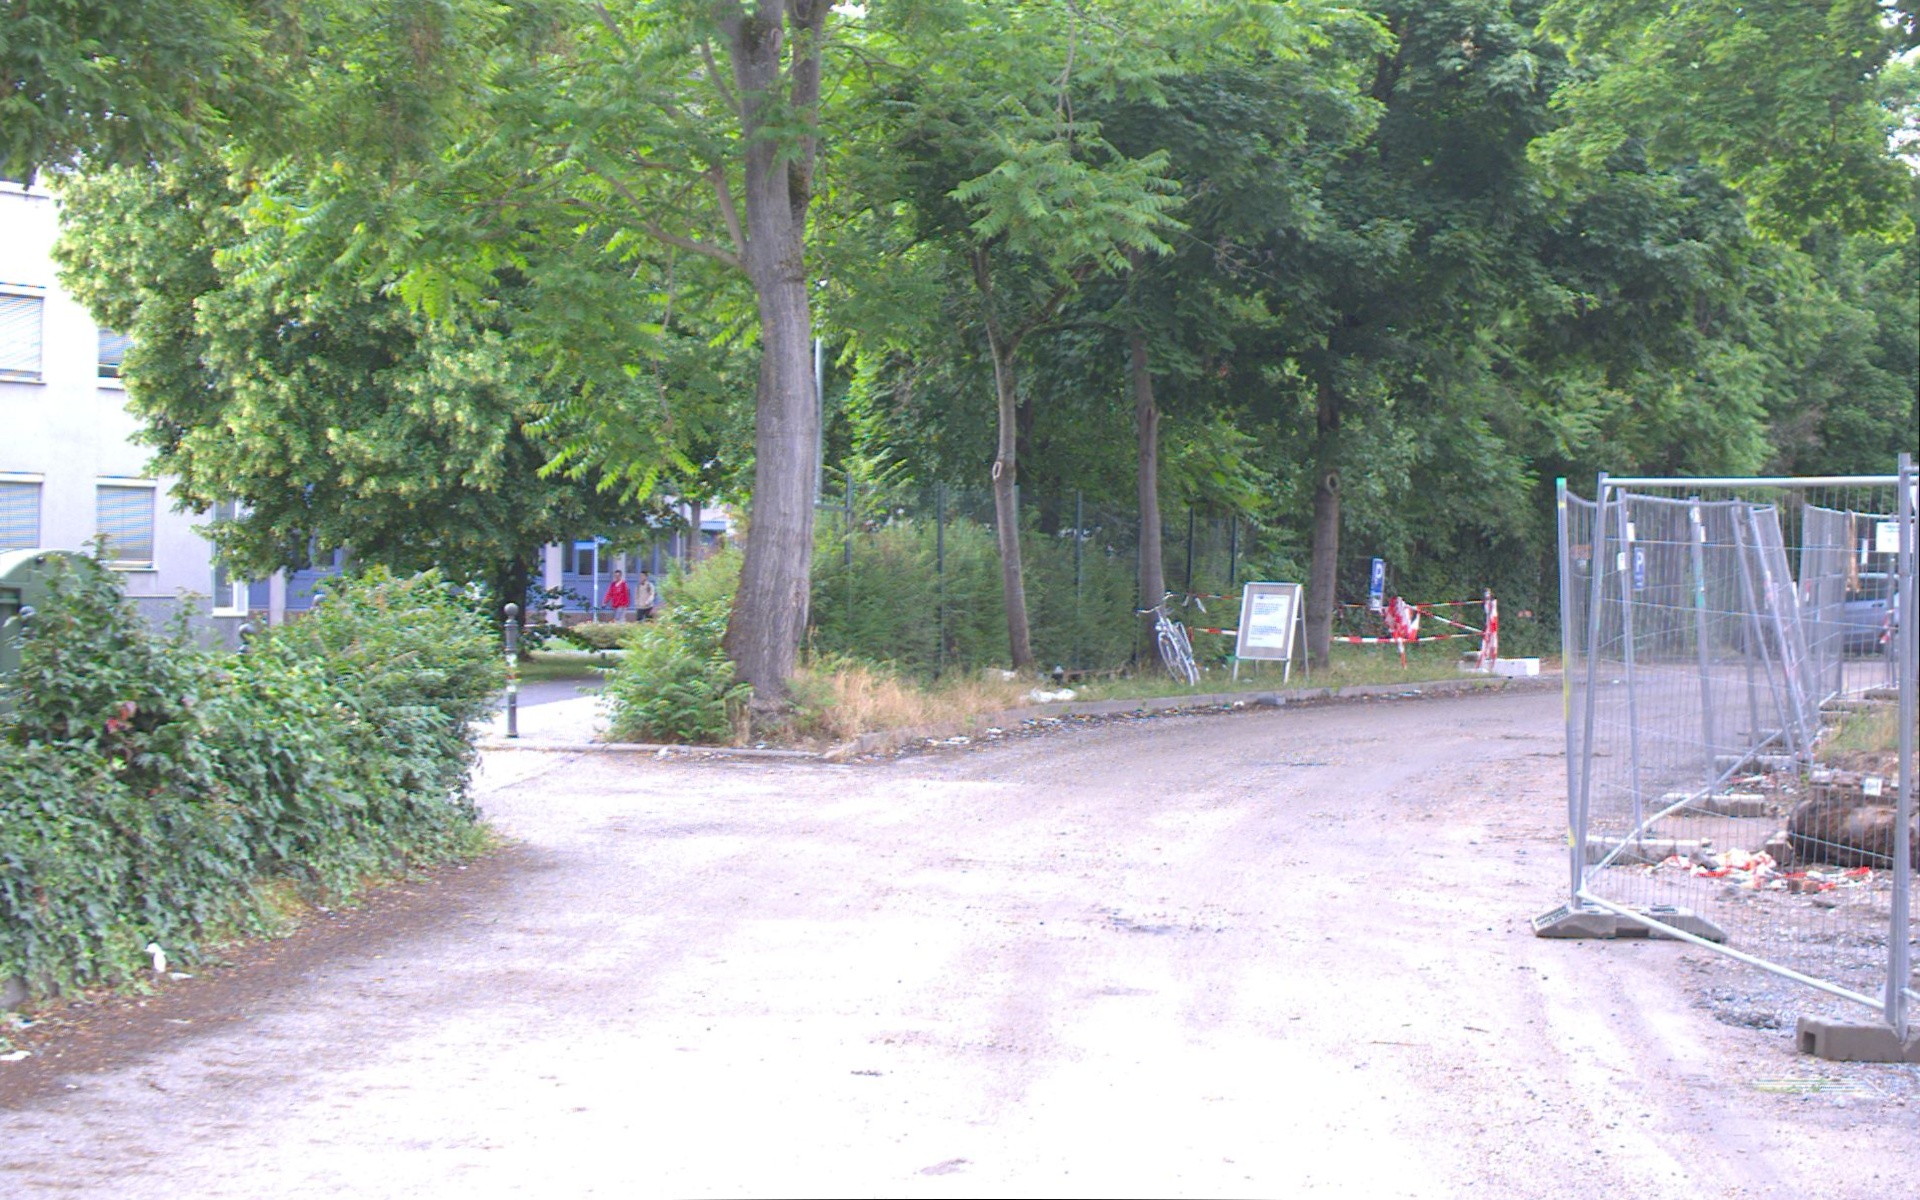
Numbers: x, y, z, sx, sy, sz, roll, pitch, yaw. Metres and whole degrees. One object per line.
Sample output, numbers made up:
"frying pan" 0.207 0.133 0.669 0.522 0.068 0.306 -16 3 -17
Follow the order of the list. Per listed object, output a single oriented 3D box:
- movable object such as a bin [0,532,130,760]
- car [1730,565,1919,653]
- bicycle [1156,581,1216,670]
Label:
"movable object such as a bin" -6.431 0.284 23.028 1.353 1.445 1.053 3 2 38
"car" 16.126 0.148 62.555 3.706 1.495 1.864 1 1 33
"bicycle" 2.385 0.259 36.213 0.419 0.902 1.153 1 1 14
